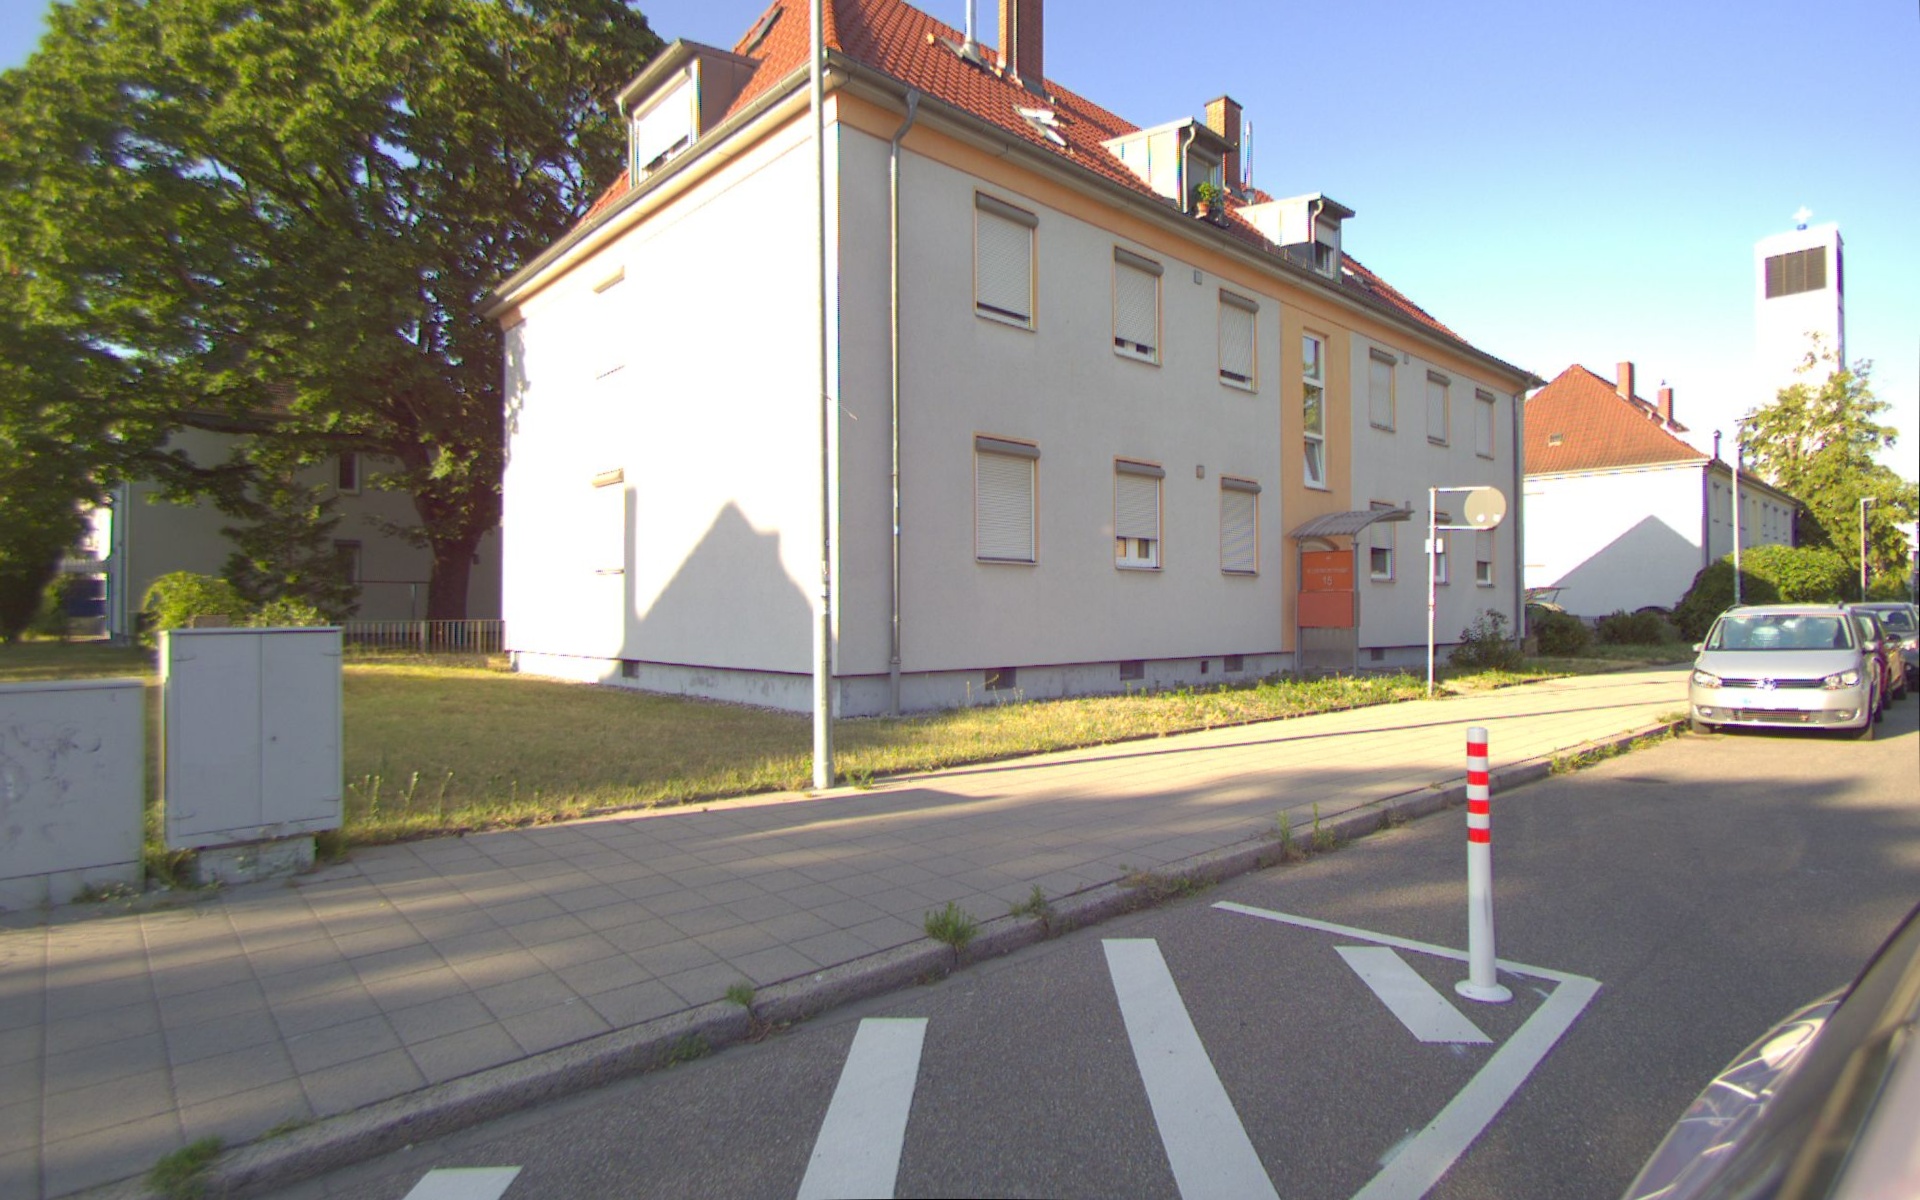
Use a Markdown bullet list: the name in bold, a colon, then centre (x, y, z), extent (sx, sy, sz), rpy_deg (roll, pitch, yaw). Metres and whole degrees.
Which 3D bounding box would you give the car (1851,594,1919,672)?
- **car**: centre (22.540, 0.730, 23.947), extent (3.934, 1.717, 1.845), rpy_deg (0, -2, -45)

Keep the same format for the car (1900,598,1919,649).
- **car**: centre (34.107, 0.766, 35.197), extent (3.934, 1.717, 1.845), rpy_deg (0, -2, -45)

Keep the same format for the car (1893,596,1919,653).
- **car**: centre (30.445, 0.723, 31.480), extent (3.934, 1.717, 1.845), rpy_deg (0, -2, -45)

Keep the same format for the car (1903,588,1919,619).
- **car**: centre (54.663, 0.185, 57.160), extent (3.934, 1.717, 1.845), rpy_deg (0, -2, -45)

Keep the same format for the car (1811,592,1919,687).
- **car**: centre (18.309, 0.721, 20.004), extent (3.934, 1.717, 1.845), rpy_deg (0, -2, -45)

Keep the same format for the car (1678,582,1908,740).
- **car**: centre (10.873, 0.694, 13.121), extent (3.934, 1.717, 1.845), rpy_deg (0, -2, -45)

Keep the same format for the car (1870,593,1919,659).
- **car**: centre (26.399, 0.684, 27.766), extent (3.934, 1.717, 1.845), rpy_deg (0, -2, -45)

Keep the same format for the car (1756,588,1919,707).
- **car**: centre (14.558, 0.712, 16.586), extent (3.934, 1.717, 1.845), rpy_deg (0, -2, -45)
